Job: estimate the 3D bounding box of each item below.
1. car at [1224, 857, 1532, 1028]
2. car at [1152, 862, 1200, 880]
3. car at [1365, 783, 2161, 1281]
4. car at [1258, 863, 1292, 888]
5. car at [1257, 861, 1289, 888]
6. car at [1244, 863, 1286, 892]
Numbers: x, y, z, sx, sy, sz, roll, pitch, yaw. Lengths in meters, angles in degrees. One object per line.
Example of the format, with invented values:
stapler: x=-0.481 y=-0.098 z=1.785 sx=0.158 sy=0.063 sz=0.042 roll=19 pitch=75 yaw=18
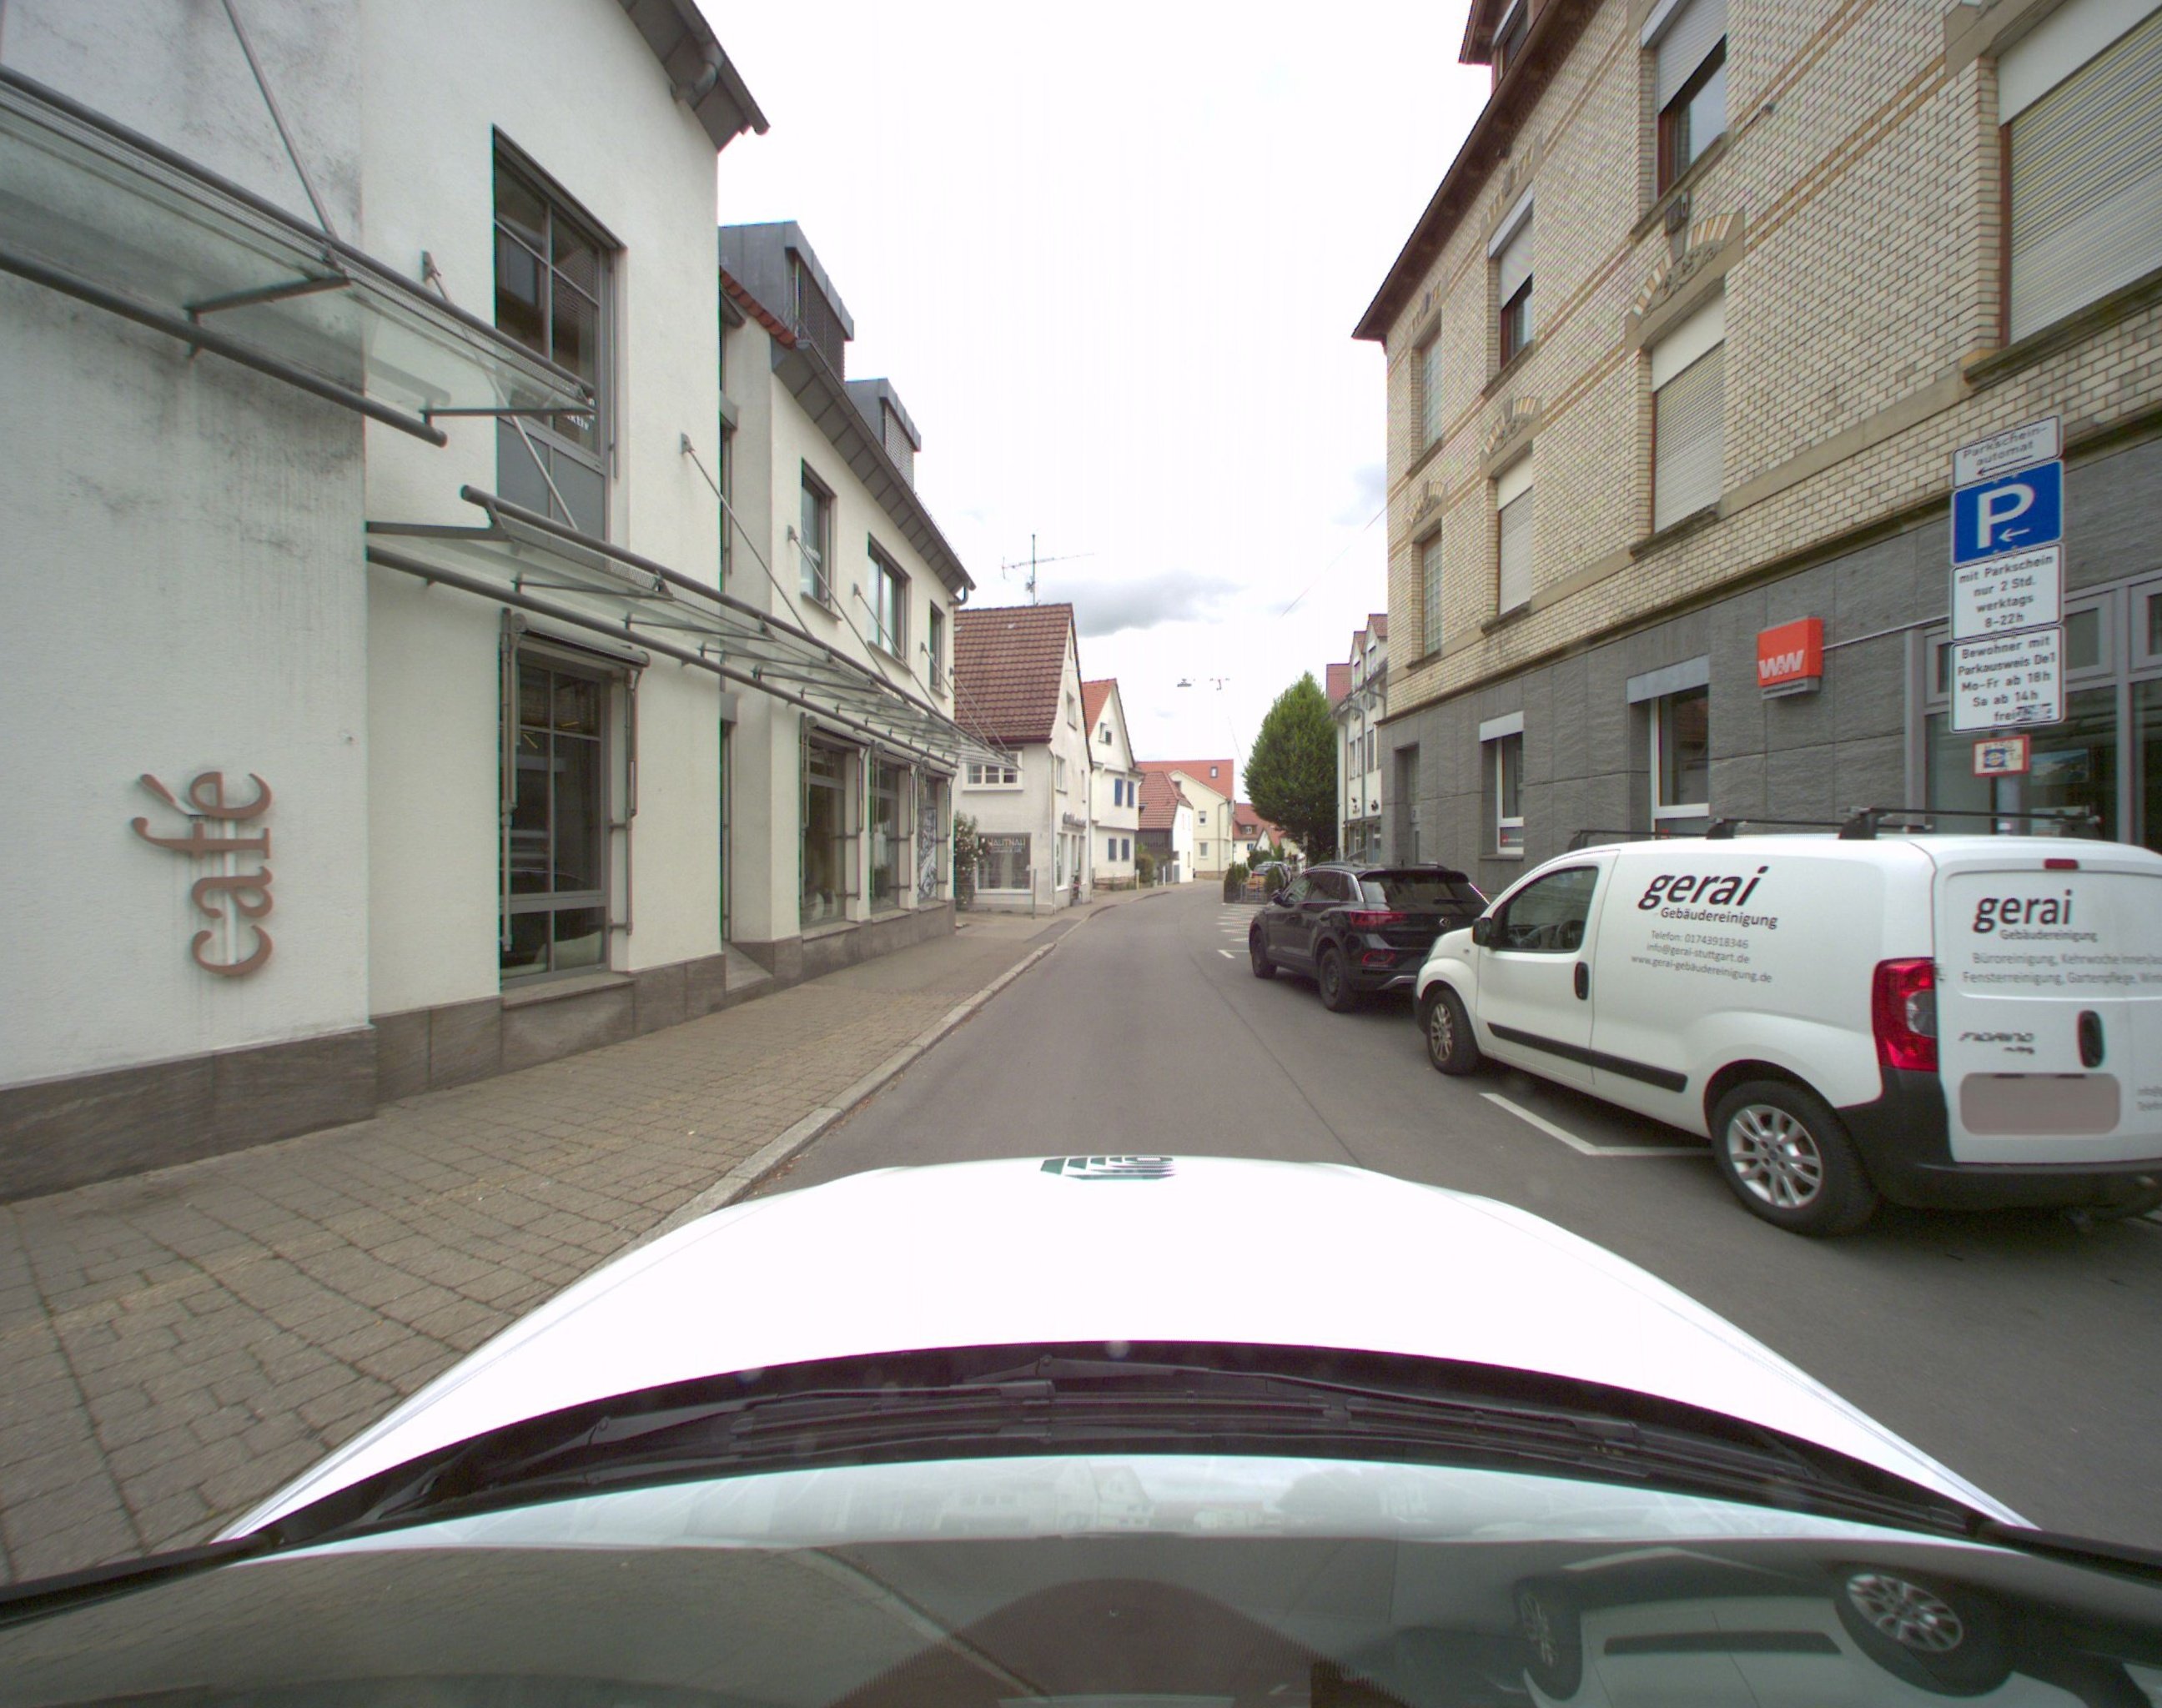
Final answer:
car: x=3.247 y=0.860 z=10.019 sx=1.785 sy=1.600 sz=4.532 roll=1 pitch=-1 yaw=-6
car: x=8.275 y=1.498 z=70.999 sx=3.700 sy=1.412 sz=2.130 roll=2 pitch=-2 yaw=20
car: x=3.637 y=0.645 z=5.150 sx=1.824 sy=1.792 sz=4.208 roll=0 pitch=0 yaw=-7
car: x=13.571 y=1.458 z=56.861 sx=1.978 sy=1.615 sz=4.900 roll=1 pitch=0 yaw=17
car: x=12.097 y=1.263 z=51.145 sx=1.849 sy=1.633 sz=4.920 roll=0 pitch=-1 yaw=15
car: x=10.309 y=1.271 z=45.402 sx=1.933 sy=1.508 sz=4.840 roll=0 pitch=-1 yaw=16
